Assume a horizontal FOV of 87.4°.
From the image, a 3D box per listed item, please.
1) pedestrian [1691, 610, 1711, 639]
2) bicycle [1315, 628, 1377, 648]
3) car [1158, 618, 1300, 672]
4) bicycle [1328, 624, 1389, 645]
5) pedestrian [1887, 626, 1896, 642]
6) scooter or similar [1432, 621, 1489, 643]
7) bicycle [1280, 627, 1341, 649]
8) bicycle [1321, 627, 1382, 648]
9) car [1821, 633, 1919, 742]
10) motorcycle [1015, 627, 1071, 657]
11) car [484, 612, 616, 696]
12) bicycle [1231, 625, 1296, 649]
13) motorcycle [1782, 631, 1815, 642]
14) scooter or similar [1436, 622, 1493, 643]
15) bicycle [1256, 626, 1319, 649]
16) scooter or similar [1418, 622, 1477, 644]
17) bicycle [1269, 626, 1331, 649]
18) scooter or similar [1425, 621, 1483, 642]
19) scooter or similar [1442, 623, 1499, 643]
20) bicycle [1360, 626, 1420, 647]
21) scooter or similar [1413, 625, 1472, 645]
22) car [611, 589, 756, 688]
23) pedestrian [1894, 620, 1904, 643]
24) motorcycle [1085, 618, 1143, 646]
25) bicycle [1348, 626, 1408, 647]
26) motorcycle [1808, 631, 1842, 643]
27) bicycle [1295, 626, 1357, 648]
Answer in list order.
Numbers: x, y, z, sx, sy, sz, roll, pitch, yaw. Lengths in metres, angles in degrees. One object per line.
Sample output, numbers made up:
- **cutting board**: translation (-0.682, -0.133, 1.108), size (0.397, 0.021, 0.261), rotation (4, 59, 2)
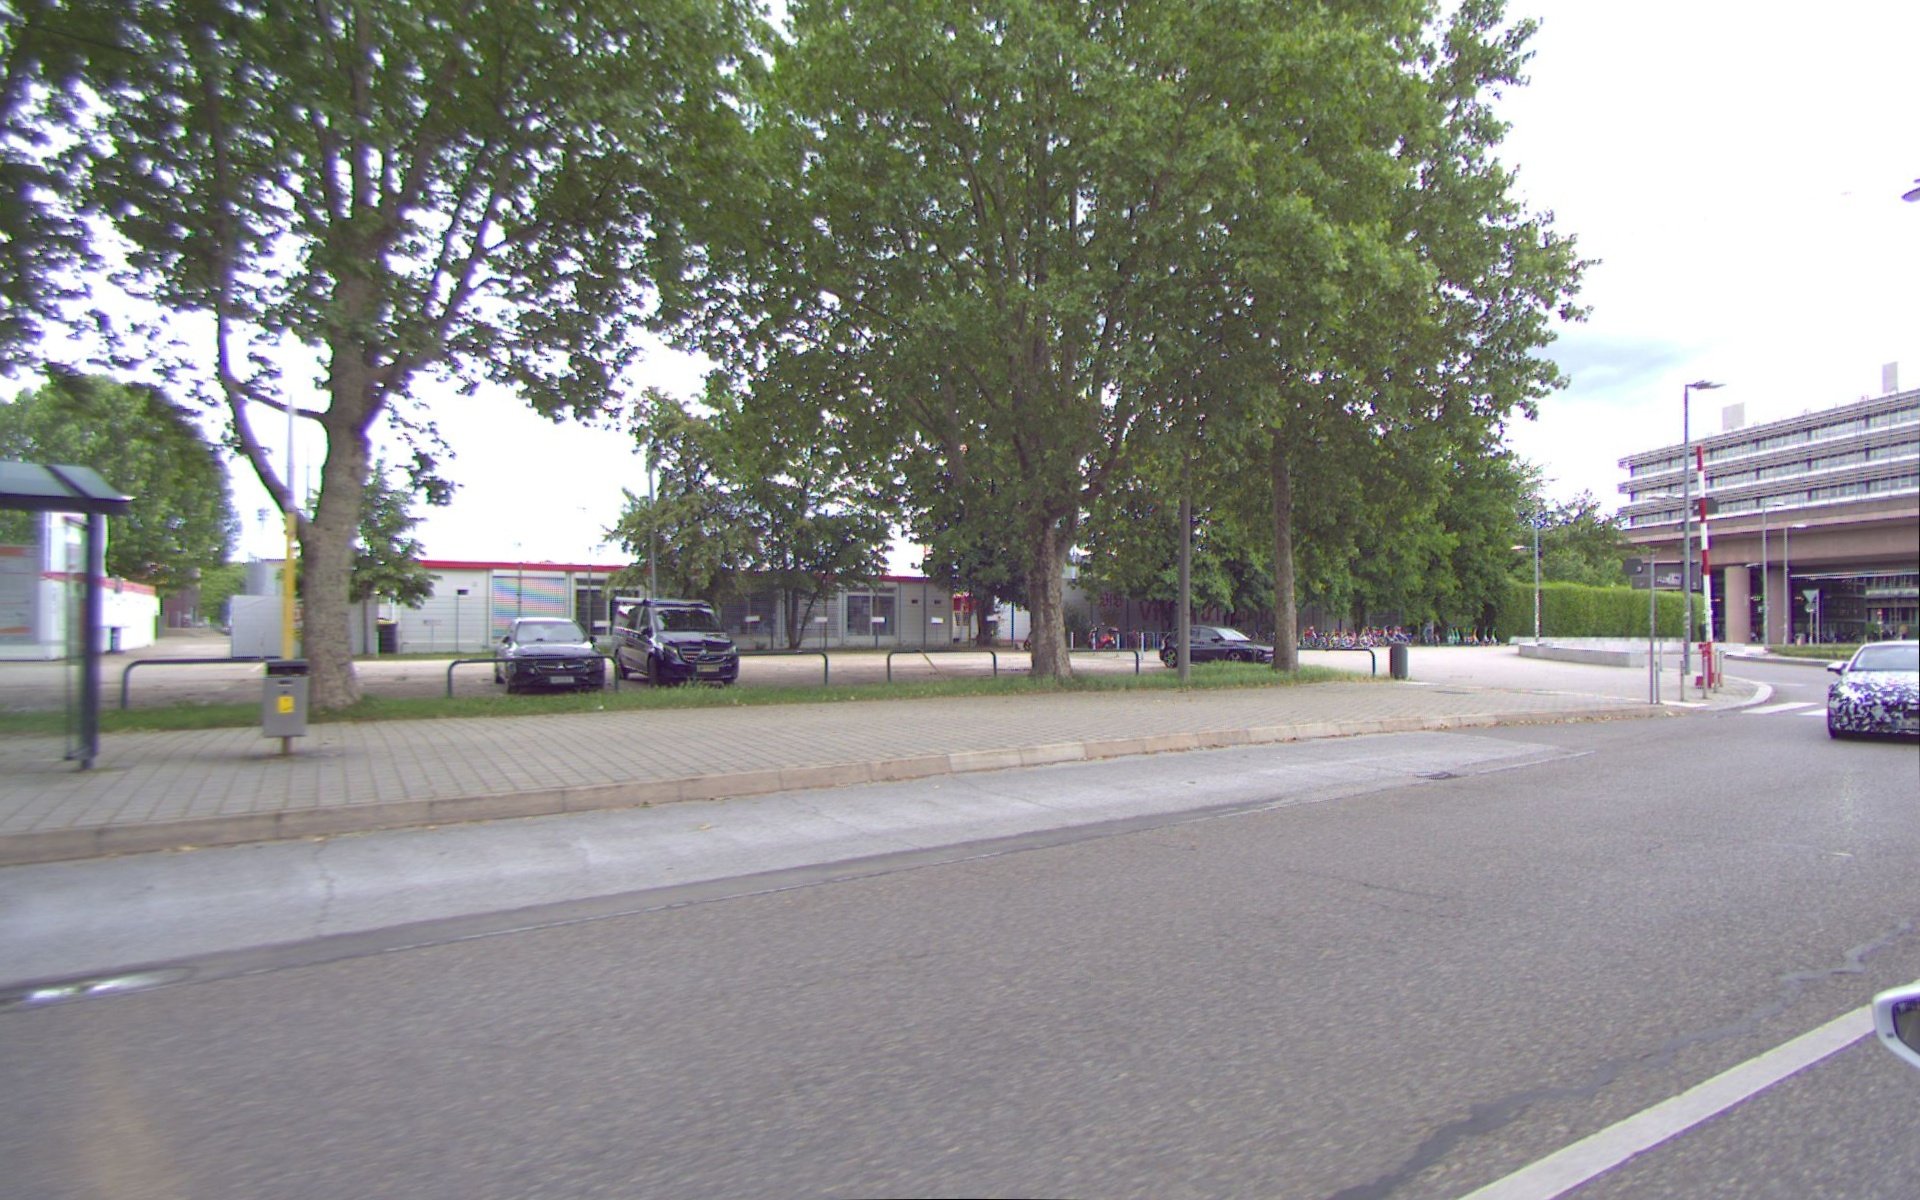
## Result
- **pedestrian**: translation (53.312, 1.737, 72.261), size (0.595, 2.040, 1.033), rotation (1, -1, -43)
- **bicycle**: translation (21.304, 2.106, 55.522), size (3.147, 1.111, 0.769), rotation (-2, -3, 43)
- **car**: translation (8.722, 1.438, 32.805), size (2.214, 1.626, 3.954), rotation (2, -2, -40)
- **bicycle**: translation (22.708, 1.968, 57.291), size (3.147, 1.112, 0.769), rotation (0, -1, 43)
- **pedestrian**: translation (118.916, 4.349, 128.237), size (0.766, 2.040, 0.668), rotation (0, -1, 35)
- **scooter or similar**: translation (31.438, 2.006, 63.144), size (3.147, 1.266, 0.769), rotation (0, -1, 43)
- **bicycle**: translation (19.108, 2.074, 54.832), size (3.147, 1.112, 0.769), rotation (0, -1, 43)
- **bicycle**: translation (22.005, 2.107, 56.464), size (3.147, 1.112, 0.769), rotation (0, -1, 43)
- **car**: translation (14.671, 1.251, 15.482), size (1.881, 1.472, 4.787), rotation (-3, -3, 43)
- **motorcycle**: translation (3.629, 1.830, 44.260), size (0.763, 1.238, 3.650), rotation (1, -1, -25)
- **car**: translation (-8.921, 1.091, 21.614), size (2.083, 1.588, 4.606), rotation (2, -2, -29)
- **bicycle**: translation (15.450, 1.893, 51.239), size (3.148, 1.112, 0.768), rotation (0, -1, 44)
- **motorcycle**: translation (87.111, 3.786, 104.369), size (1.021, 1.127, 2.657), rotation (1, -1, -10)
- **scooter or similar**: translation (32.135, 2.043, 64.015), size (3.147, 1.266, 0.769), rotation (0, -1, 43)
- **bicycle**: translation (17.363, 1.963, 53.289), size (3.148, 1.112, 0.768), rotation (0, -1, 44)
- **scooter or similar**: translation (29.691, 1.993, 61.254), size (3.147, 1.266, 0.769), rotation (0, -1, 43)
- **bicycle**: translation (18.337, 2.024, 54.243), size (3.148, 1.112, 0.768), rotation (0, -1, 44)
- **scooter or similar**: translation (30.477, 1.943, 62.051), size (3.147, 1.266, 0.769), rotation (0, -1, 43)
- **scooter or similar**: translation (32.838, 2.111, 64.634), size (3.147, 1.266, 0.769), rotation (0, -1, 43)
- **bicycle**: translation (25.052, 2.110, 58.608), size (3.147, 1.112, 0.769), rotation (0, -1, 43)
- **scooter or similar**: translation (29.066, 2.109, 60.547), size (3.147, 1.112, 0.769), rotation (0, -1, 43)
- **car**: translation (-6.523, 0.838, 23.322), size (2.235, 2.052, 4.596), rotation (1, -1, -29)
- **pedestrian**: translation (83.836, 2.823, 89.699), size (0.595, 2.040, 0.582), rotation (1, -1, -43)
- **motorcycle**: translation (7.038, 1.446, 46.291), size (0.763, 1.238, 3.650), rotation (1, -1, -25)
- **bicycle**: translation (24.077, 2.086, 57.904), size (3.147, 1.112, 0.769), rotation (0, -1, 43)
- **motorcycle**: translation (90.103, 3.839, 104.690), size (1.021, 1.127, 2.657), rotation (1, -1, -10)
- **bicycle**: translation (20.146, 2.026, 55.320), size (3.147, 1.112, 0.769), rotation (-1, -2, 43)
